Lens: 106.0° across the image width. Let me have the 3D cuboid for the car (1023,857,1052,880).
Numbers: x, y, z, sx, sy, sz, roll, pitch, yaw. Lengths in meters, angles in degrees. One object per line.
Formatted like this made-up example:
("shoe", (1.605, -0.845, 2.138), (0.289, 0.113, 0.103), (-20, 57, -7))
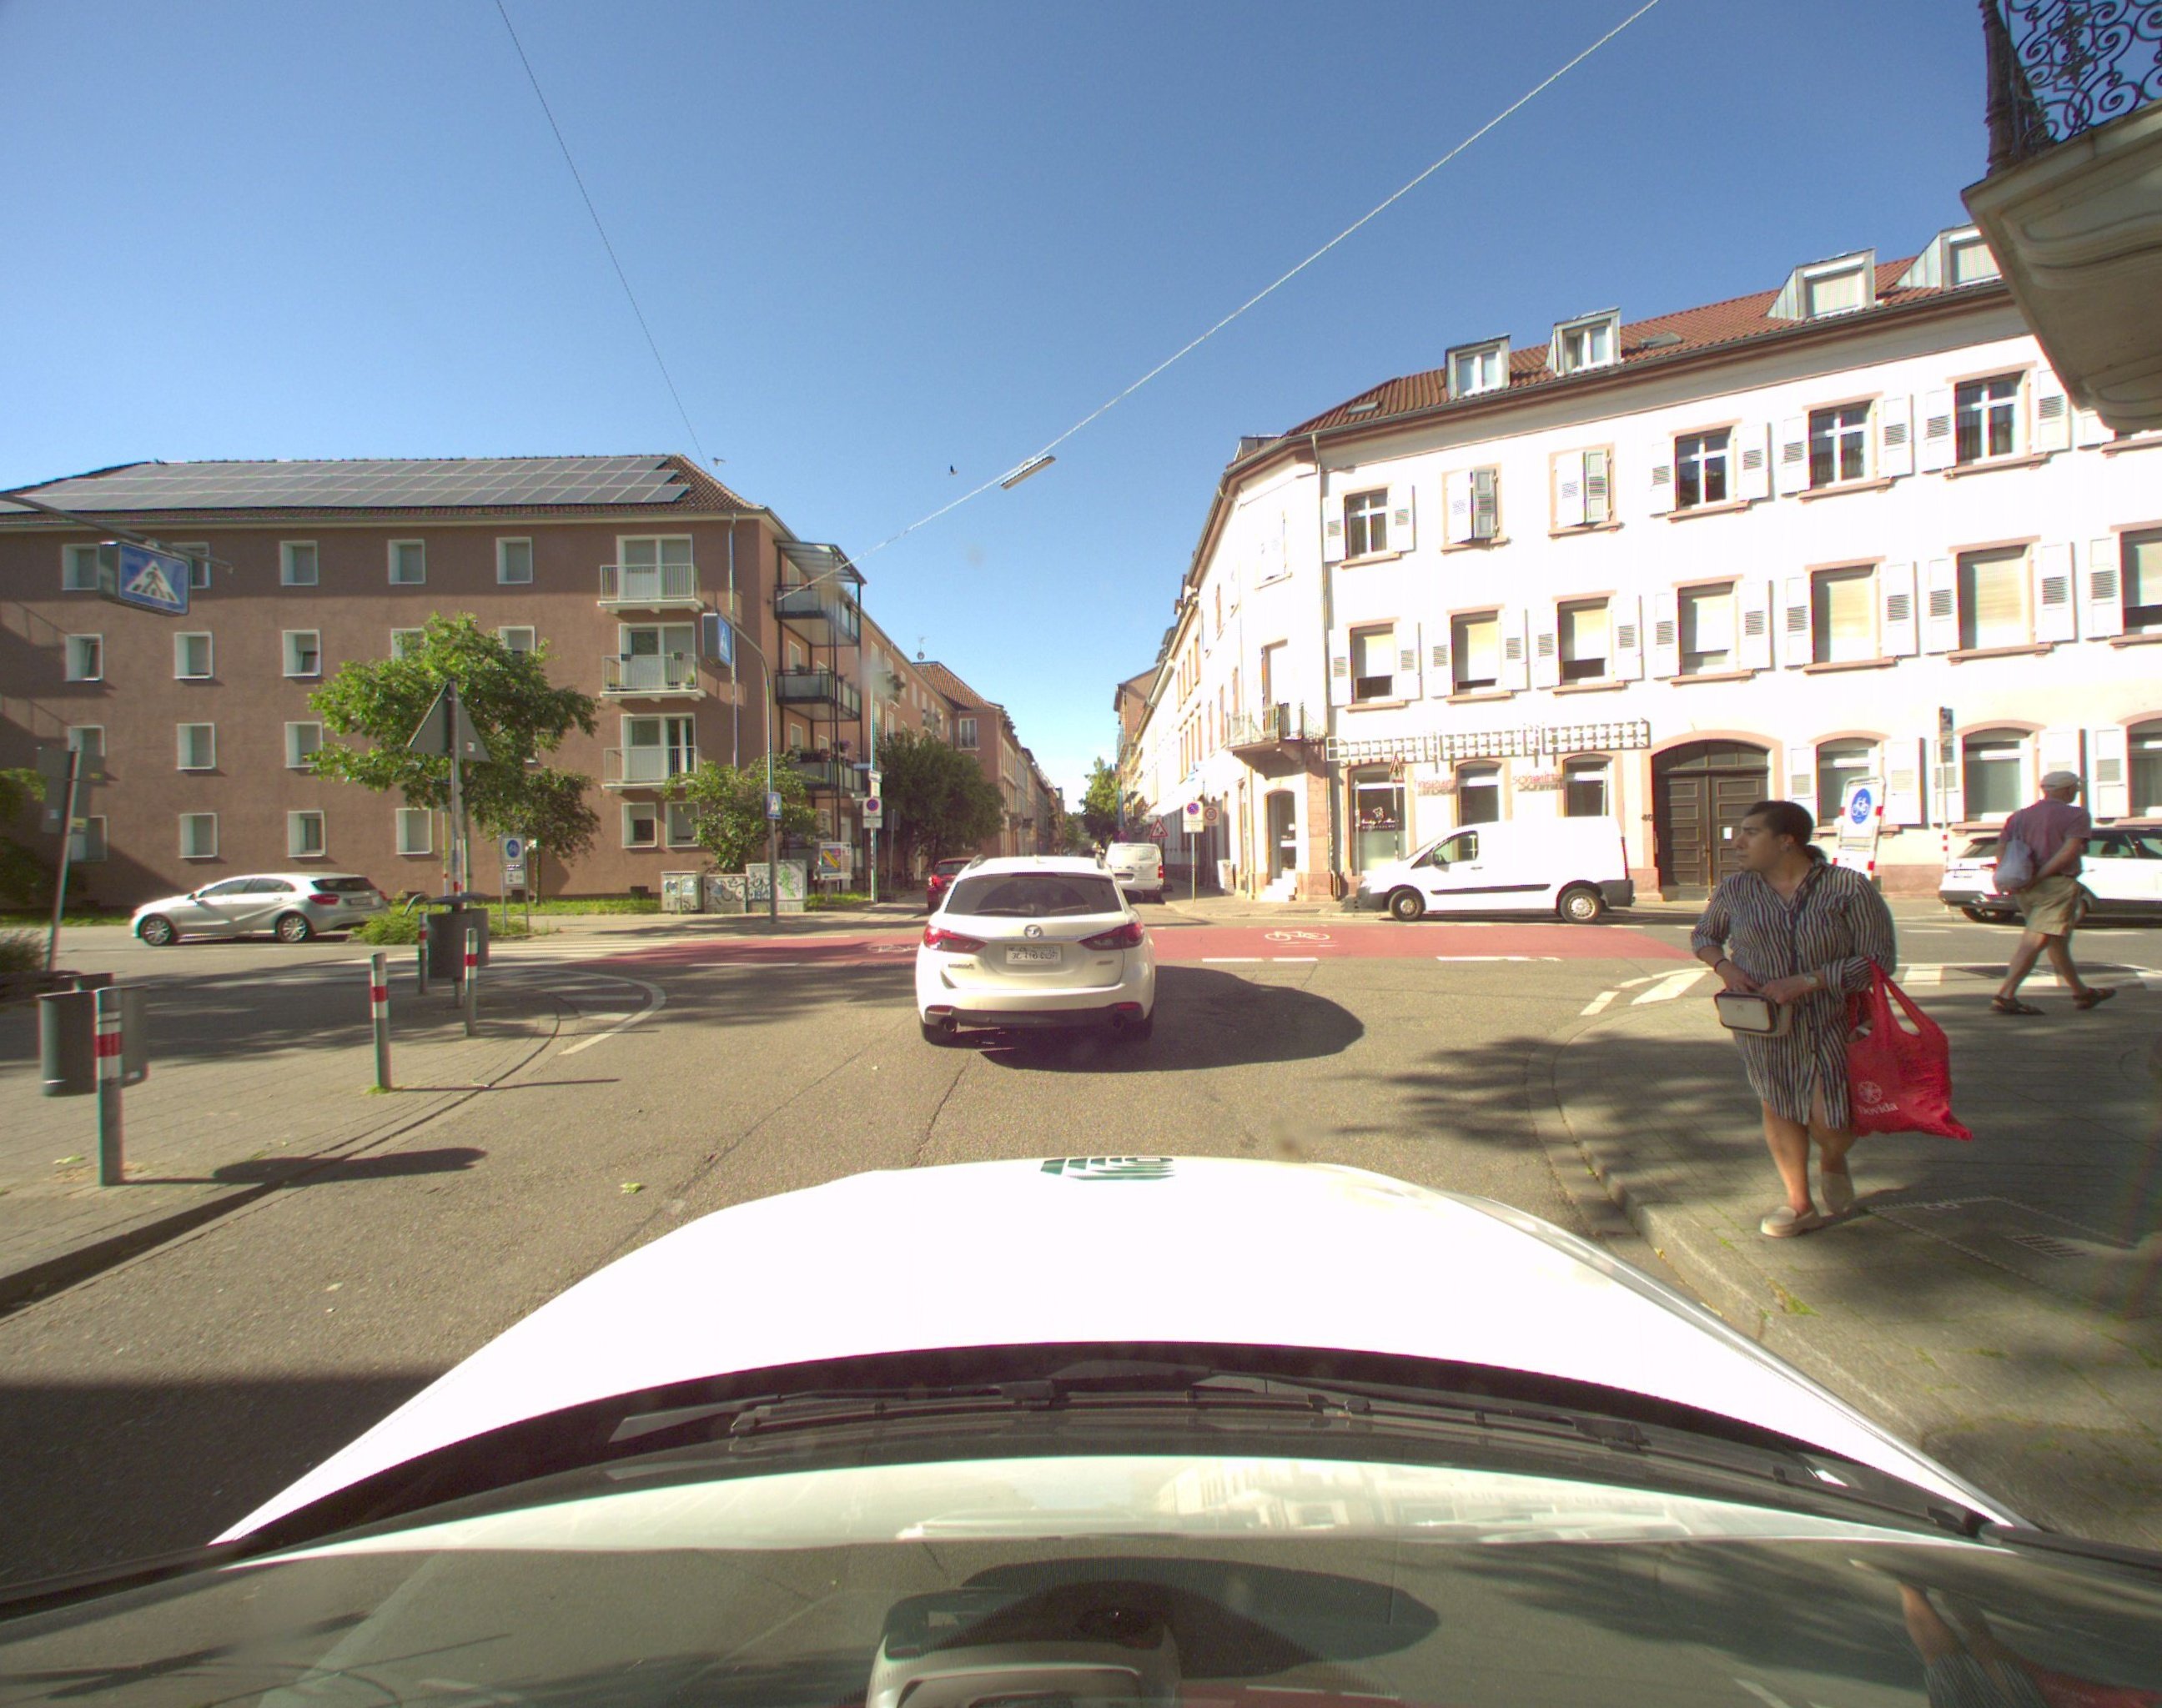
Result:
("car", (-2.976, 0.966, 56.517), (1.647, 1.500, 3.764), (-1, 0, 1))

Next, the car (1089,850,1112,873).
("car", (1.646, 0.635, 68.924), (1.888, 1.859, 3.996), (-1, 0, 1))

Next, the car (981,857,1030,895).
("car", (-3.243, 0.914, 35.406), (1.647, 1.500, 3.764), (-1, 0, 1))

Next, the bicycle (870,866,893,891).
("bicycle", (-8.565, 1.054, 34.882), (1.201, 1.072, 0.268), (-1, 0, 40))

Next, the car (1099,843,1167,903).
("car", (1.655, 0.594, 27.759), (1.889, 1.859, 5.011), (1, 0, -1))

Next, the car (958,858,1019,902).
("car", (-3.360, 0.905, 30.310), (1.647, 1.500, 4.081), (-1, 0, 1))

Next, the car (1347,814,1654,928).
("car", (7.907, 0.334, 15.854), (4.964, 1.946, 2.062), (-1, 0, 23))

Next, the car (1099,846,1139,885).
("car", (1.912, 0.573, 41.308), (1.888, 1.859, 3.996), (-1, 0, 1))

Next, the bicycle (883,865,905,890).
("bicycle", (-8.123, 1.007, 35.404), (1.201, 1.071, 0.255), (-1, 0, 40))

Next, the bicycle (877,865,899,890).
("bicycle", (-8.338, 1.026, 35.166), (1.201, 1.071, 0.255), (-1, 0, 40))

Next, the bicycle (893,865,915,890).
("bicycle", (-7.717, 1.022, 35.475), (1.204, 1.071, 0.255), (-1, 0, 40))

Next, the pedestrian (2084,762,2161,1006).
("pedestrian", (7.827, 0.172, 5.578), (0.833, 1.667, 0.626), (-5, -5, 1))

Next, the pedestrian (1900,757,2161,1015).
("pedestrian", (7.133, 0.253, 6.174), (0.746, 1.765, 0.831), (-5, -5, 5))

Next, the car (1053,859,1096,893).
("car", (-0.257, 0.952, 36.753), (1.754, 1.410, 4.329), (-1, 0, 1))

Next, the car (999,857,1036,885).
("car", (-3.592, 0.938, 46.523), (1.647, 1.500, 3.764), (-1, 0, 1))

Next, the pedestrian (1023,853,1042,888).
("pedestrian", (-2.320, 0.792, 38.906), (0.733, 1.614, 0.813), (-2, -1, -11))

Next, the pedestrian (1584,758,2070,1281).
("pedestrian", (2.634, 0.530, 3.020), (0.841, 1.573, 0.846), (-7, -1, 1))

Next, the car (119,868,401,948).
("car", (-17.232, 1.100, 17.239), (4.128, 1.454, 1.745), (-2, 0, 0))

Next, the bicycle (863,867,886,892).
("bicycle", (-8.778, 1.070, 34.636), (1.201, 1.035, 0.293), (-1, 0, 40))

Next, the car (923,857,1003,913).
("car", (-3.411, 0.858, 24.137), (1.678, 1.500, 3.808), (-1, 0, 1))

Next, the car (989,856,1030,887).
("car", (-3.659, 0.849, 42.108), (1.647, 1.500, 3.764), (-1, 0, 1))

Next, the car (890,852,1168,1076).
("car", (-0.300, 0.737, 7.418), (1.824, 1.457, 3.963), (-1, 0, 1))

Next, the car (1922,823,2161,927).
("car", (16.475, 0.316, 12.717), (4.330, 1.542, 1.655), (-1, -2, 23))
